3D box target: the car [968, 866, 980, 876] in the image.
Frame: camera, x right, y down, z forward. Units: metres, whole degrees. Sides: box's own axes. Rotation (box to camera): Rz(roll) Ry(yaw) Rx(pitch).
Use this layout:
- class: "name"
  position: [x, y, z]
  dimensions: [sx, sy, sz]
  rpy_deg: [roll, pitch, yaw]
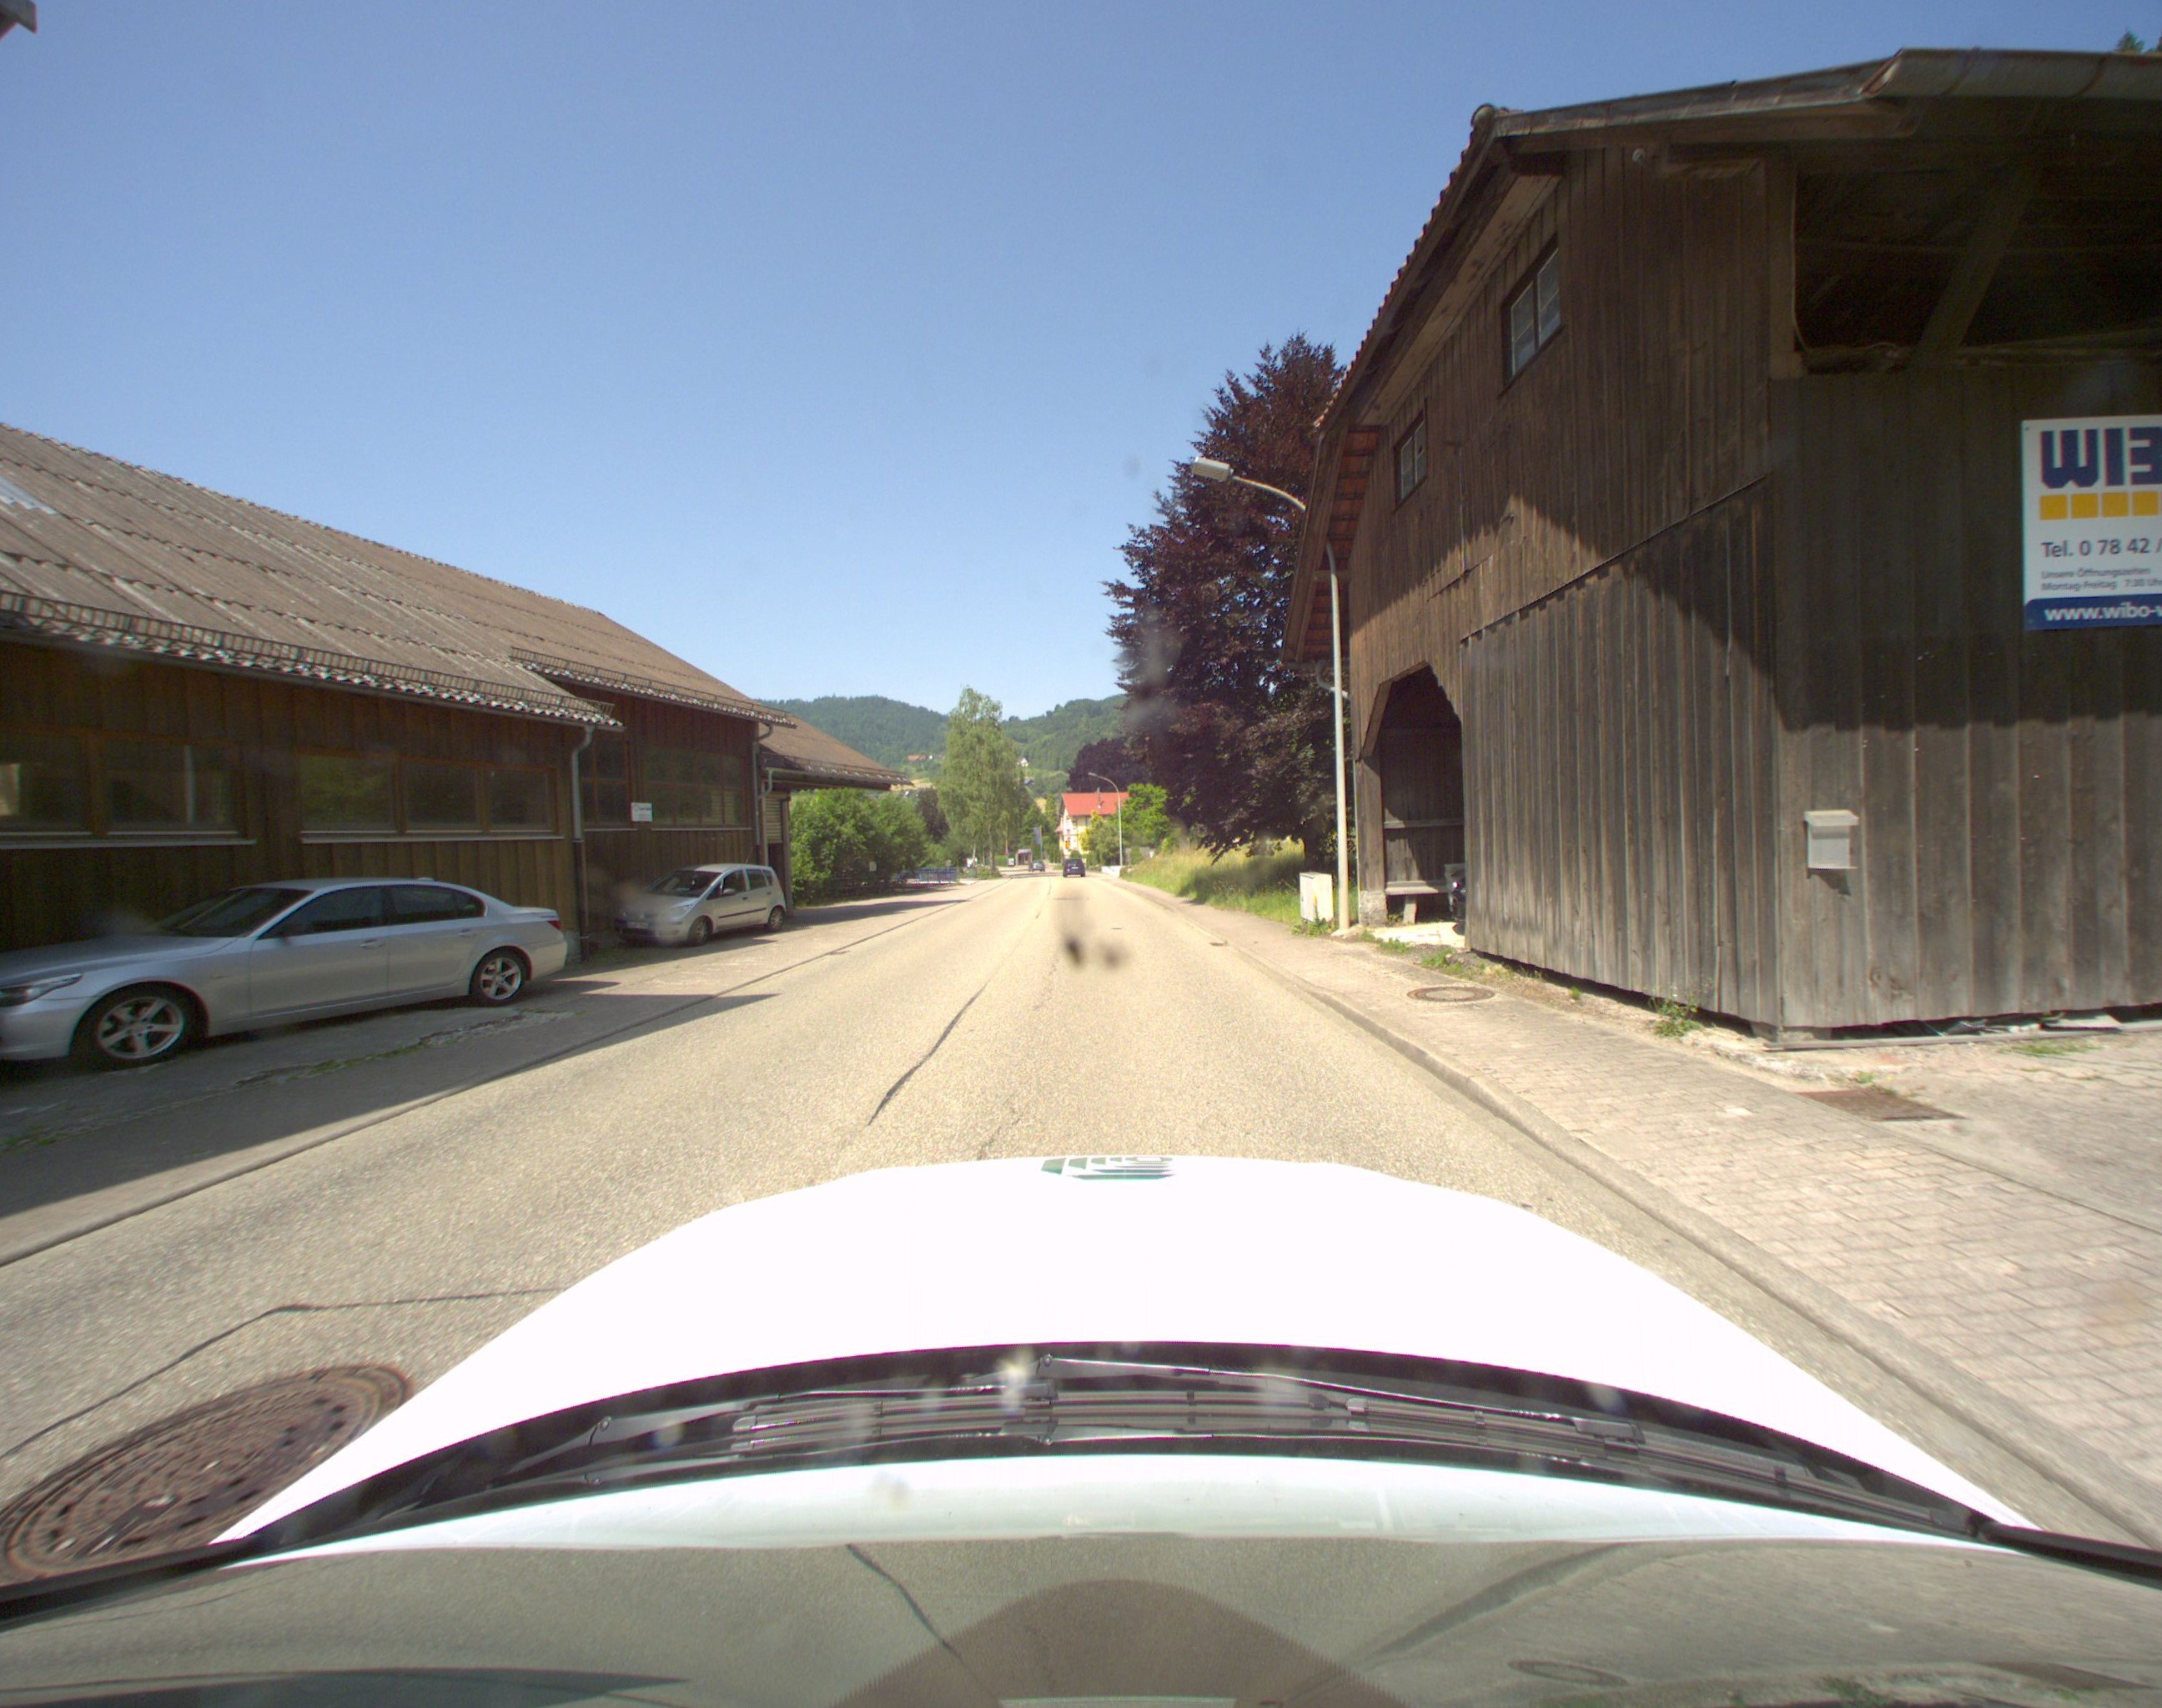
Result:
- class: "car"
  position: [-18.243, 2.832, 138.377]
  dimensions: [1.814, 1.500, 4.134]
  rpy_deg: [-3, 0, -10]

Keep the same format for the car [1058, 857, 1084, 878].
- class: "car"
  position: [-0.888, 1.136, 70.474]
  dimensions: [1.916, 1.698, 3.782]
  rpy_deg: [-3, 0, -5]

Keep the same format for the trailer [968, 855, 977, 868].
- class: "trailer"
  position: [-19.076, 1.341, 142.724]
  dimensions: [1.466, 2.077, 3.659]
  rpy_deg: [-3, 0, -8]

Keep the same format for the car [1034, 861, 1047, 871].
- class: "car"
  position: [-5.231, 1.550, 105.327]
  dimensions: [1.473, 1.209, 2.382]
  rpy_deg: [-3, 0, -2]

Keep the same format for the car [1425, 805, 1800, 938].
- class: "car"
  position: [7.028, 0.230, 11.293]
  dimensions: [3.955, 1.508, 1.880]
  rpy_deg: [-3, 1, 18]

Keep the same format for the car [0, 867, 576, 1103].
- class: "car"
  position: [-7.772, 0.974, 7.994]
  dimensions: [1.716, 1.454, 4.825]
  rpy_deg: [-2, 1, 16]

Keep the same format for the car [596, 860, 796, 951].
- class: "car"
  position: [-7.873, 0.964, 17.131]
  dimensions: [1.569, 1.570, 4.038]
  rpy_deg: [1, 1, 14]
